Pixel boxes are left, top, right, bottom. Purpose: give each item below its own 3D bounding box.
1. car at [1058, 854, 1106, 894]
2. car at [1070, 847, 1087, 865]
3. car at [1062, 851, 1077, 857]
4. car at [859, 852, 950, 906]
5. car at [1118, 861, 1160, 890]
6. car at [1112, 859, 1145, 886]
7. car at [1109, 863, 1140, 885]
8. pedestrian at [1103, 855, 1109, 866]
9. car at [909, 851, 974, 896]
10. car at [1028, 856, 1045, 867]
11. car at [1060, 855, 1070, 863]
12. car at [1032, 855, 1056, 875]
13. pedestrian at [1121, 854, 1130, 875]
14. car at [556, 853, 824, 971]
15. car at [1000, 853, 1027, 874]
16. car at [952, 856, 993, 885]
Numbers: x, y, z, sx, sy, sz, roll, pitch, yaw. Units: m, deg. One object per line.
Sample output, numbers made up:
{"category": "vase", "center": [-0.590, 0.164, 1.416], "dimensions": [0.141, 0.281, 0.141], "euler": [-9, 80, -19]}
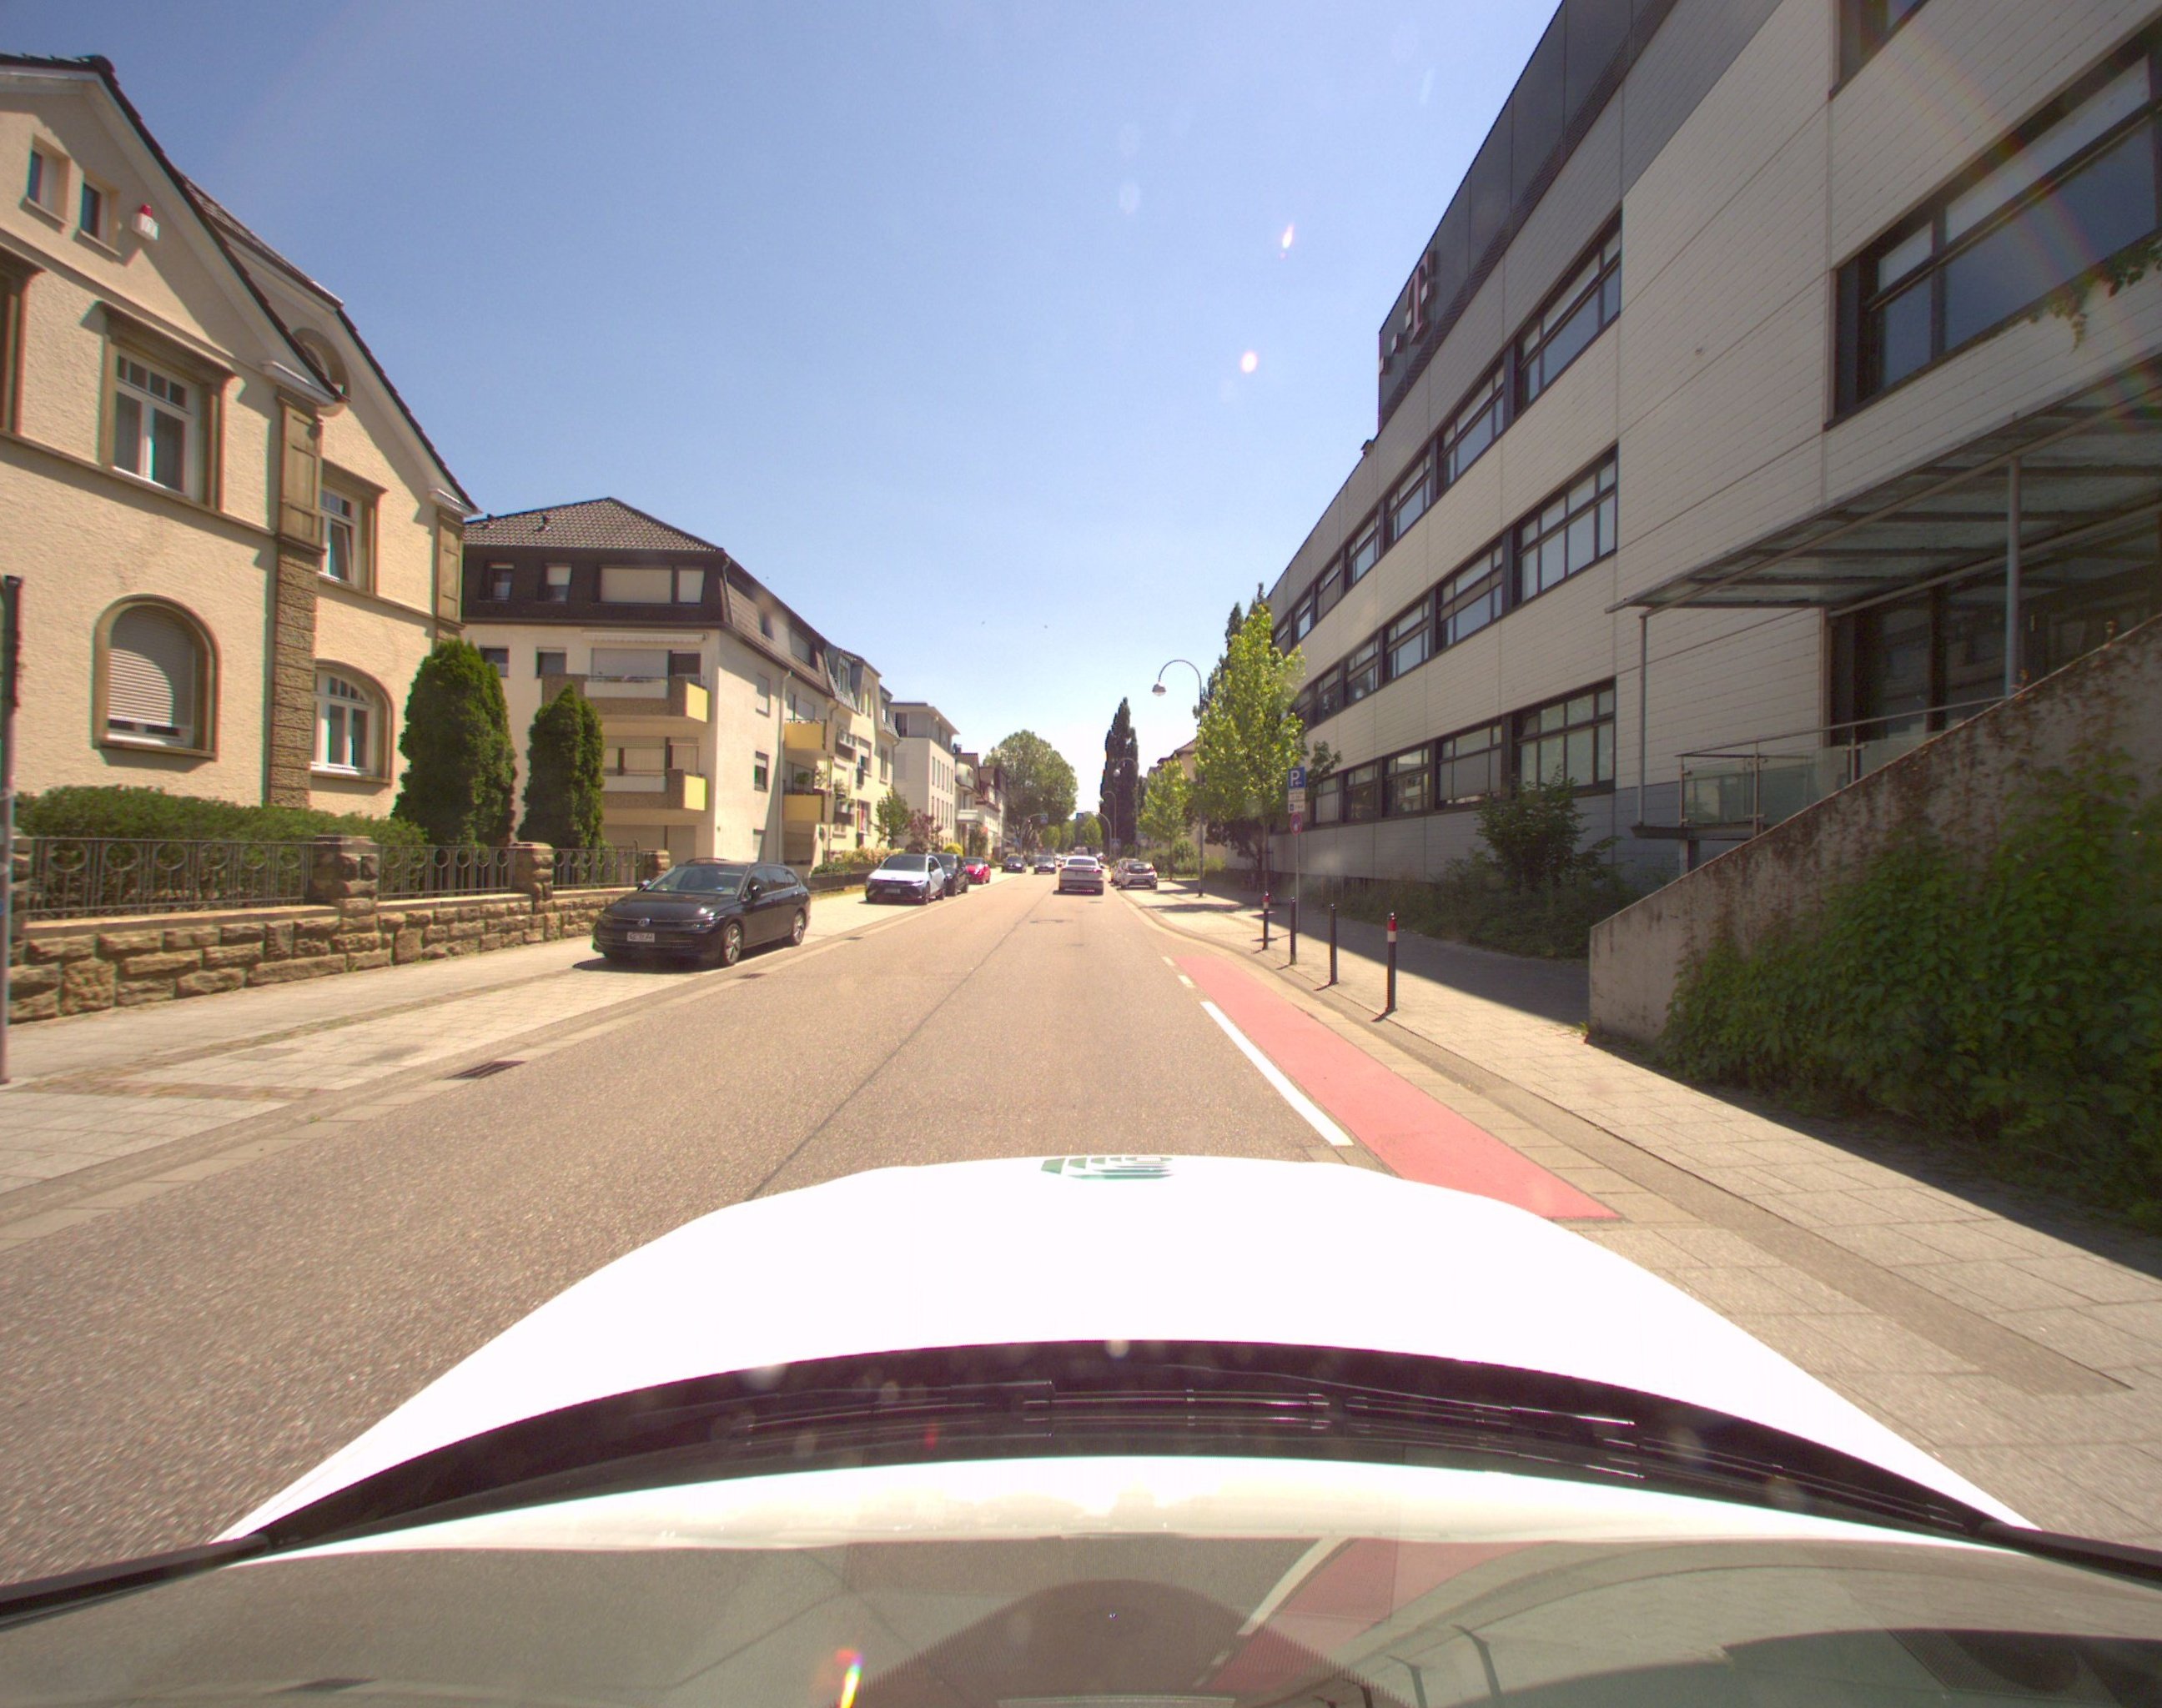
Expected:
{"category": "car", "center": [0.045, 0.851, 36.010], "dimensions": [1.929, 1.614, 4.471], "euler": [2, -1, 0]}
{"category": "car", "center": [-0.313, 0.260, 105.420], "dimensions": [2.064, 2.197, 5.134], "euler": [-1, 0, -2]}
{"category": "car", "center": [-3.199, 0.099, 230.257], "dimensions": [3.966, 1.651, 2.004], "euler": [1, -1, 7]}
{"category": "car", "center": [-5.815, 0.789, 27.437], "dimensions": [1.919, 1.573, 4.659], "euler": [4, -1, 0]}
{"category": "car", "center": [2.916, 1.063, 41.666], "dimensions": [1.856, 1.373, 3.999], "euler": [-1, 0, 0]}
{"category": "car", "center": [2.733, 1.024, 47.533], "dimensions": [1.653, 1.488, 4.344], "euler": [-1, -1, -1]}
{"category": "car", "center": [2.769, 1.252, 52.284], "dimensions": [1.721, 1.383, 4.400], "euler": [-1, -1, -1]}
{"category": "pedestrian", "center": [3.859, 0.973, 125.812], "dimensions": [0.692, 1.736, 0.667], "euler": [1, -1, -5]}
{"category": "car", "center": [-5.625, 0.762, 33.302], "dimensions": [1.719, 1.619, 4.571], "euler": [4, -1, 0]}
{"category": "car", "center": [-5.788, 1.010, 105.657], "dimensions": [1.988, 1.349, 3.998], "euler": [1, 0, -1]}
{"category": "car", "center": [-3.191, 0.970, 160.584], "dimensions": [1.973, 1.520, 3.998], "euler": [1, 0, -1]}
{"category": "car", "center": [-3.159, 0.950, 70.614], "dimensions": [1.968, 1.671, 4.469], "euler": [1, -1, -1]}
{"category": "pedestrian", "center": [3.671, 0.852, 67.137], "dimensions": [0.636, 1.758, 0.616], "euler": [1, -1, -5]}
{"category": "car", "center": [-5.880, 0.782, 13.049], "dimensions": [1.919, 1.436, 4.659], "euler": [4, 0, 0]}
{"category": "car", "center": [-5.898, 0.830, 71.928], "dimensions": [1.919, 1.720, 4.471], "euler": [1, -1, 0]}
{"category": "car", "center": [-5.909, 0.865, 44.747], "dimensions": [1.644, 1.419, 3.904], "euler": [4, -1, 0]}
